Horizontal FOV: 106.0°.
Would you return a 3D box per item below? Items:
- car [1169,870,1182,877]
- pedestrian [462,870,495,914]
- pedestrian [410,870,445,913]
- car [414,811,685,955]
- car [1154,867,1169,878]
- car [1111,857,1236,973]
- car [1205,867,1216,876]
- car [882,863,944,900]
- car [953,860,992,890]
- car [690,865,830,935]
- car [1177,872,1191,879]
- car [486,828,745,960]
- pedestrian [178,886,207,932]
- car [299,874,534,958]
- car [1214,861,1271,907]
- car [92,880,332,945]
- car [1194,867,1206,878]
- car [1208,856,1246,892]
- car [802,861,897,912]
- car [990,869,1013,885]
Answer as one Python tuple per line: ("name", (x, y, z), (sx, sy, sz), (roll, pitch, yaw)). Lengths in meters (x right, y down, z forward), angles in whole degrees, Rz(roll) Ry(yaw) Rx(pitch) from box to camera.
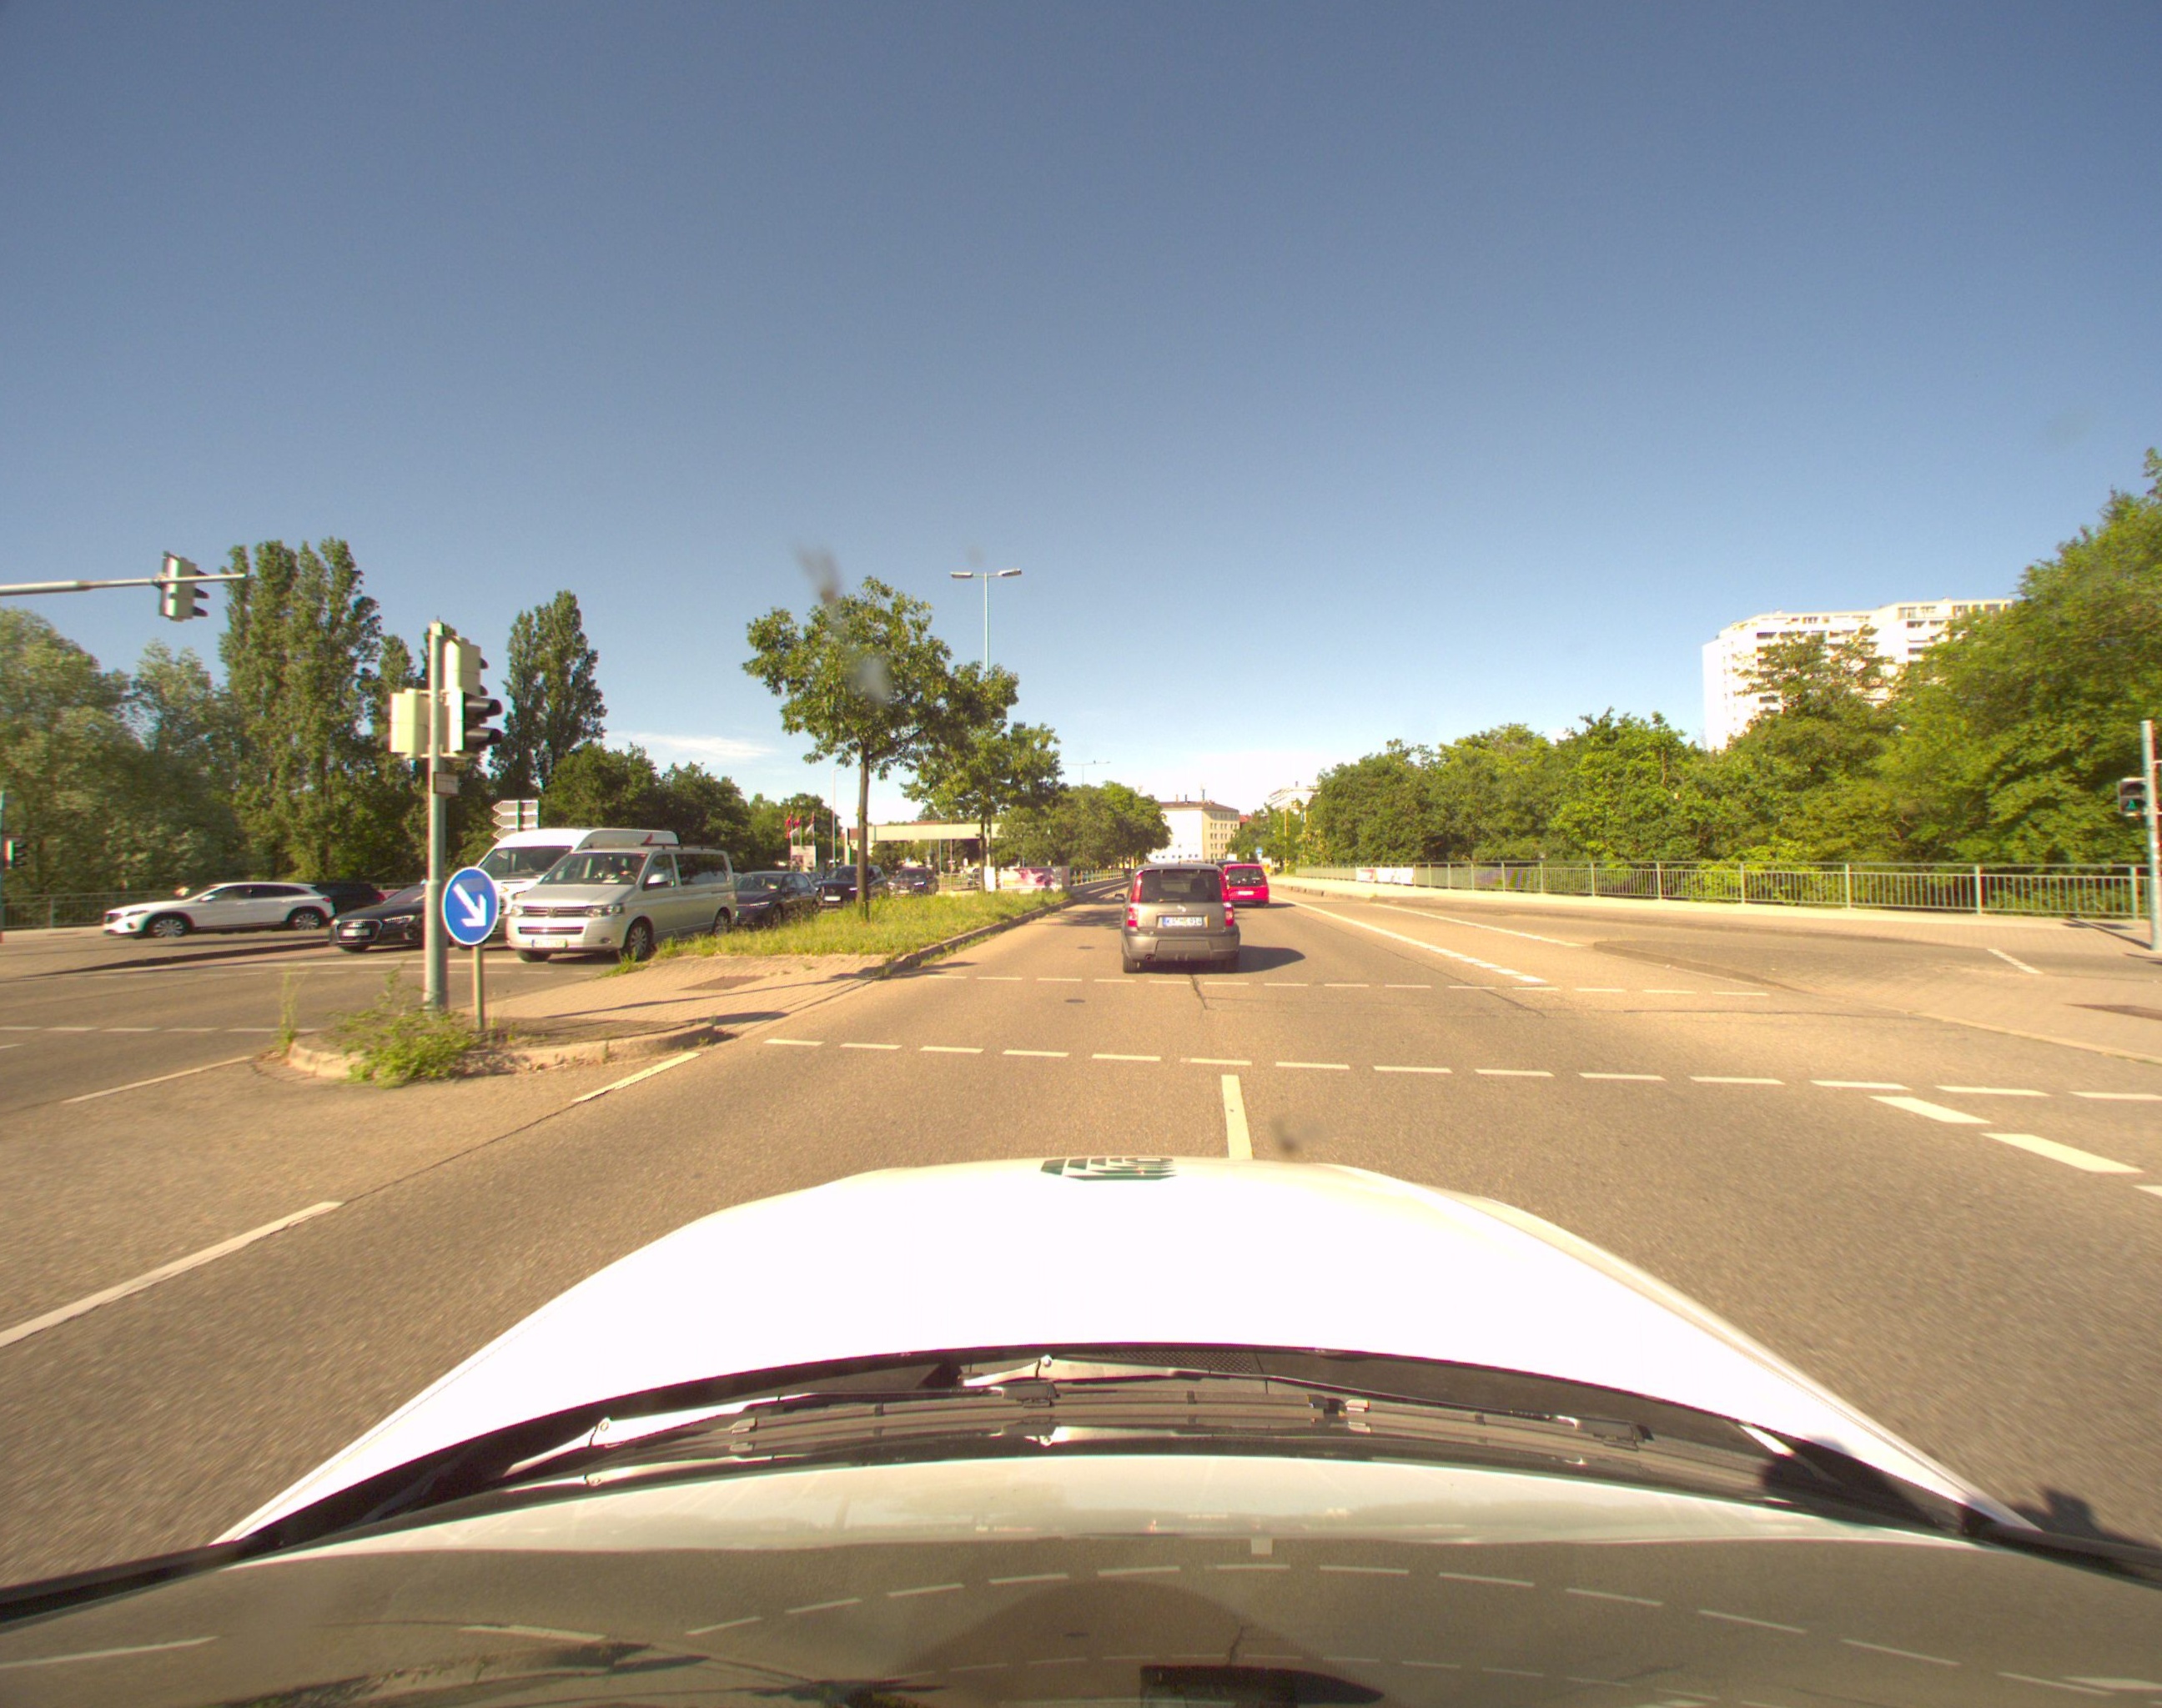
("car", (18.920, 3.885, 162.531), (1.930, 1.528, 4.115), (-1, -1, 17))
("pedestrian", (-27.970, 1.766, 37.805), (0.802, 1.997, 0.788), (0, -3, 4))
("pedestrian", (-29.418, 1.701, 36.677), (0.832, 1.917, 0.788), (0, -3, 4))
("car", (-11.150, 0.569, 17.853), (1.930, 2.576, 6.087), (-1, -1, 0))
("car", (11.327, 2.630, 114.477), (1.934, 1.528, 4.106), (-1, -1, 7))
("car", (1.417, 0.824, 12.591), (1.609, 1.515, 3.826), (-1, -1, 6))
("car", (26.522, 3.581, 166.263), (1.933, 1.840, 4.164), (-5, -3, 11))
("car", (-7.983, 1.267, 39.055), (1.930, 1.622, 4.506), (-1, -1, 1))
("car", (-7.718, 1.459, 58.329), (1.986, 2.014, 4.336), (-2, -1, 2))
("car", (-8.336, 1.132, 21.659), (1.930, 1.622, 4.504), (-1, -1, 0))
("car", (21.633, 4.484, 170.598), (1.928, 1.528, 4.119), (-1, -1, 22))
("car", (-8.183, 0.652, 14.996), (1.930, 2.008, 4.930), (-1, -1, 0))
("pedestrian", (-30.630, 1.899, 28.086), (0.560, 1.548, 0.570), (-1, -3, -36))
("car", (-14.250, 1.246, 17.818), (1.932, 1.507, 3.995), (-2, -1, -3))
("car", (5.549, 0.989, 28.331), (1.609, 1.463, 3.757), (-1, -1, 6))
("car", (-24.567, 1.581, 23.229), (1.762, 1.535, 4.355), (0, 0, 28))
("car", (22.981, 3.594, 156.957), (1.933, 1.840, 4.164), (-5, -3, 11))
("car", (7.988, 1.106, 44.938), (1.934, 1.840, 4.161), (1, -2, 8))
("car", (-8.035, 1.079, 28.695), (1.930, 1.622, 4.506), (-1, -1, 1))
("car", (-7.940, 2.300, 81.825), (1.737, 1.500, 4.001), (-2, -1, 2))
